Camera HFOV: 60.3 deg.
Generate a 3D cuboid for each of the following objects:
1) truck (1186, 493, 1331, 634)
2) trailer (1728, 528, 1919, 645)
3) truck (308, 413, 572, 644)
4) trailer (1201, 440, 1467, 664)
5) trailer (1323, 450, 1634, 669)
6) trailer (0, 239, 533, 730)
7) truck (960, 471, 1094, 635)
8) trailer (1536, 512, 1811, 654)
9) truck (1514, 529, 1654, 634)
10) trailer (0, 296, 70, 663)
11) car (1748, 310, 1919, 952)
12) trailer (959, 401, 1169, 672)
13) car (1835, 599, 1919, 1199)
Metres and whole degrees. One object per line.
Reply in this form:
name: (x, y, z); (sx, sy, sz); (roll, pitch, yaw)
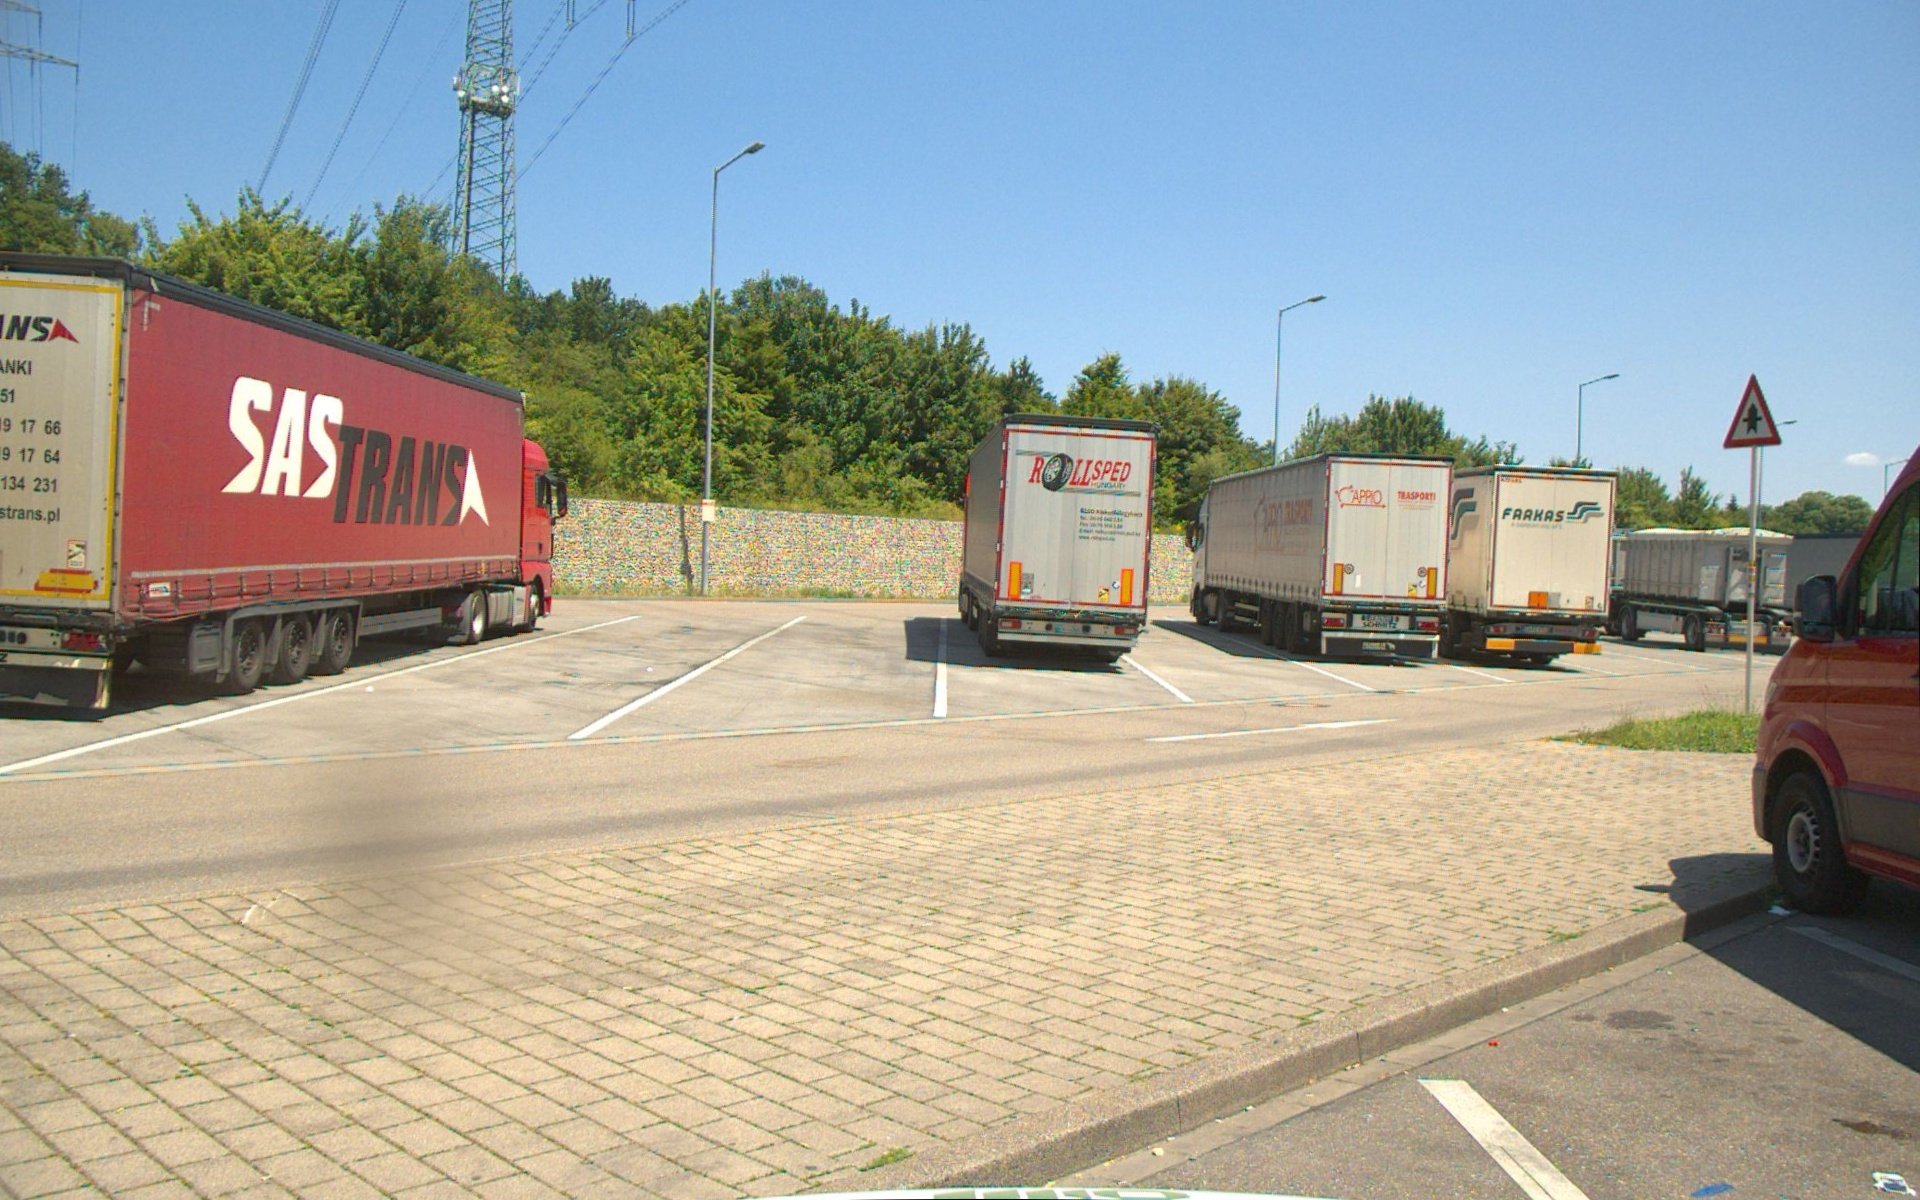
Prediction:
truck: (8.111, -1.030, 45.640); (2.794, 3.544, 5.482); (2, 2, -1)
trailer: (34.956, -0.634, 65.411); (2.780, 4.119, 13.726); (2, 2, 1)
truck: (-8.779, -1.200, 28.625); (2.794, 3.487, 5.482); (2, 2, -1)
trailer: (8.225, -1.131, 38.830); (2.781, 4.204, 13.722); (2, 2, -1)
trailer: (11.784, -1.010, 39.634); (2.781, 4.204, 13.722); (2, 2, -1)
trailer: (-8.667, -1.291, 21.190); (2.848, 4.203, 13.723); (2, 2, -1)
truck: (1.496, -1.136, 39.851); (2.794, 3.544, 5.482); (2, 2, -1)
trailer: (21.943, -0.676, 52.208); (2.780, 3.781, 13.726); (3, 2, 1)
truck: (22.024, -0.706, 58.712); (2.794, 3.423, 5.484); (3, 2, 0)
trailer: (-12.512, -1.303, 15.707); (2.673, 4.282, 10.170); (2, 2, -1)
car: (5.022, 0.169, 5.562); (2.023, 2.742, 6.397); (1, 1, 4)
trailer: (1.664, -1.224, 33.242); (2.848, 4.204, 13.720); (2, 2, -1)
car: (2.610, 0.802, 1.158); (1.703, 1.508, 3.813); (1, 1, -6)
